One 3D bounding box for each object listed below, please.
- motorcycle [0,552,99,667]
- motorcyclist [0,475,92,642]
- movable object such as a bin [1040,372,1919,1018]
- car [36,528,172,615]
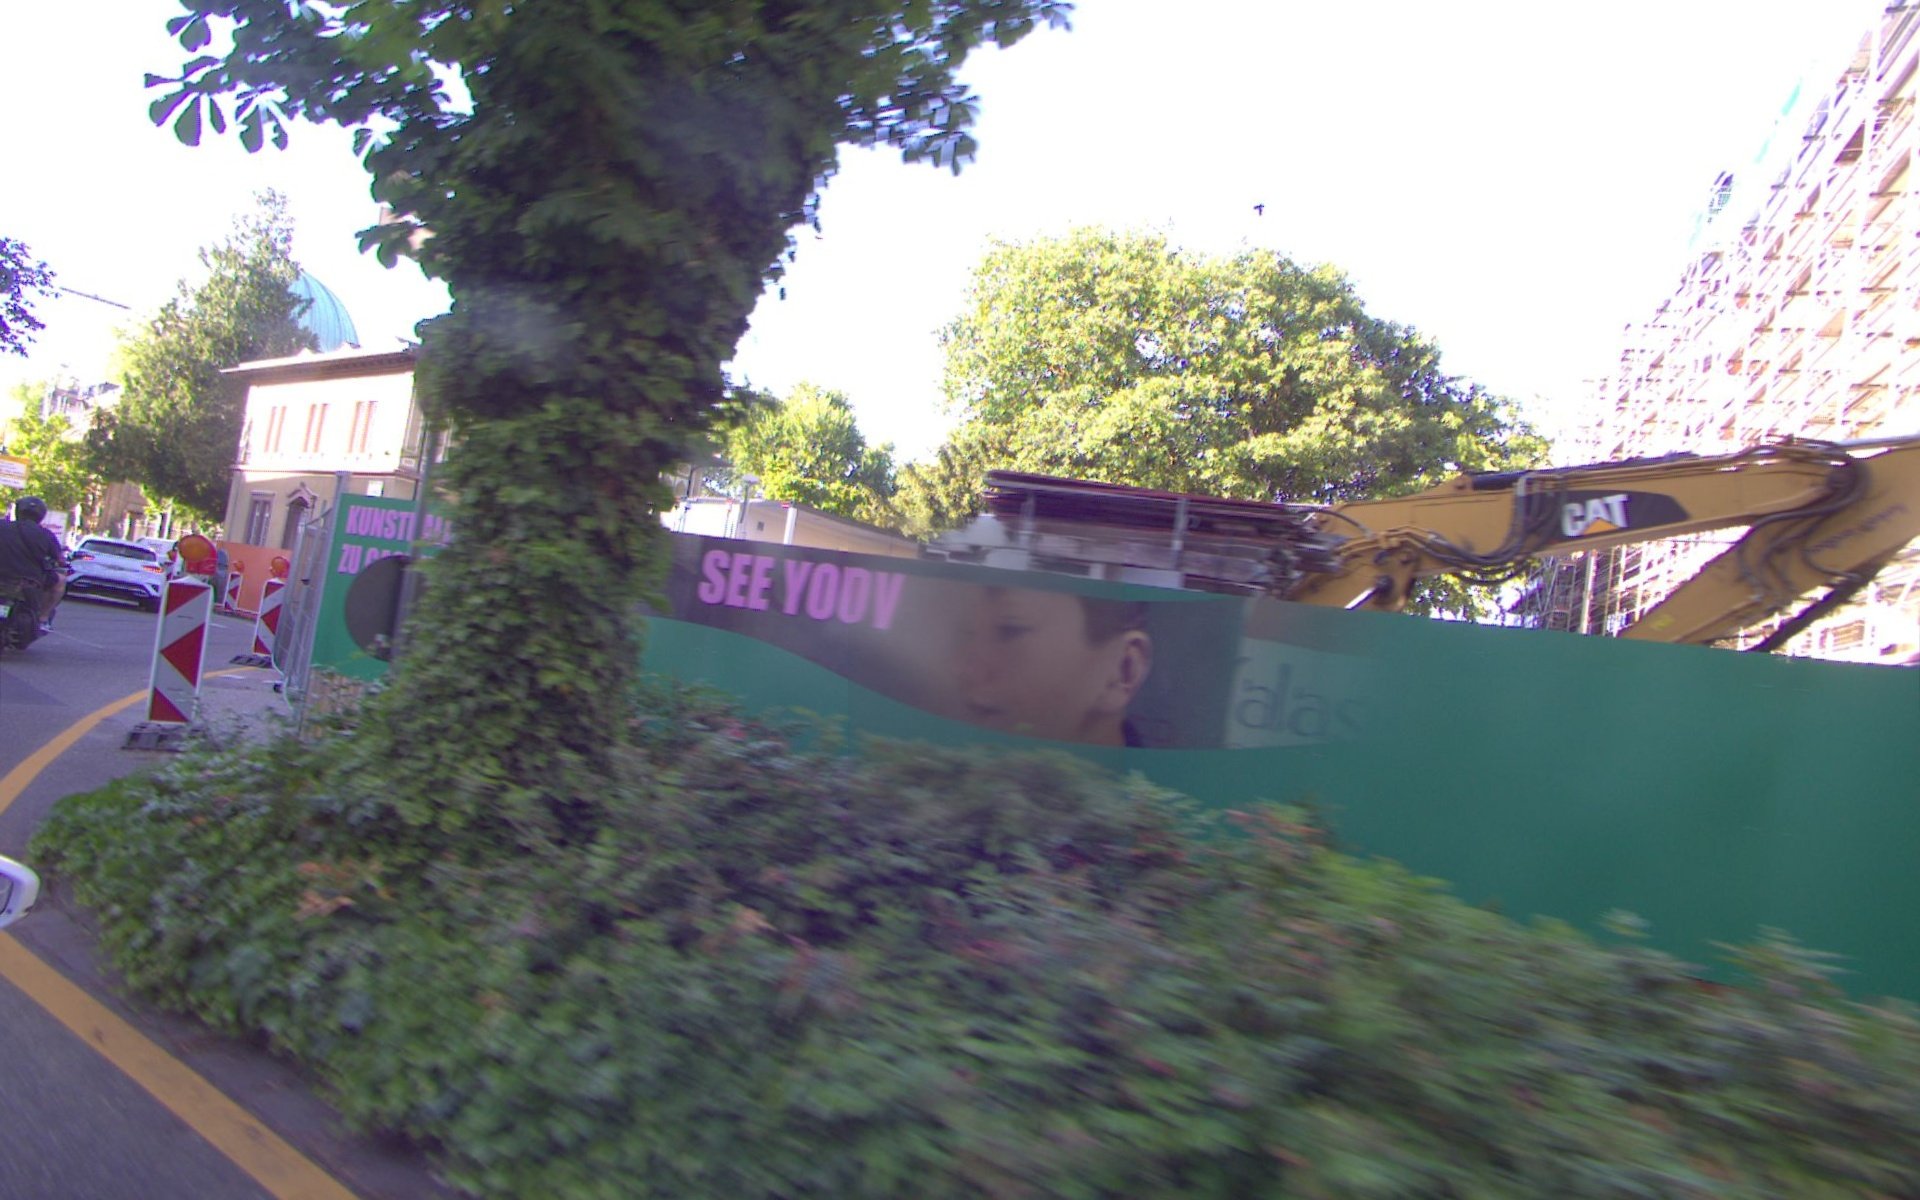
[{"bbox_3d":[-10.019,0.069,10.634,0.790,1.077,1.717,11,-5,-24],"label":"motorcycle"},{"bbox_3d":[-10.036,-0.431,10.825,0.652,1.667,0.647,10,-4,-24],"label":"motorcyclist"},{"bbox_3d":[5.284,0.554,10.007,7.771,4.589,3.317,7,-3,30],"label":"movable object such as a bin"},{"bbox_3d":[-19.306,-0.676,22.636,4.005,1.497,1.848,6,-2,44],"label":"car"}]
